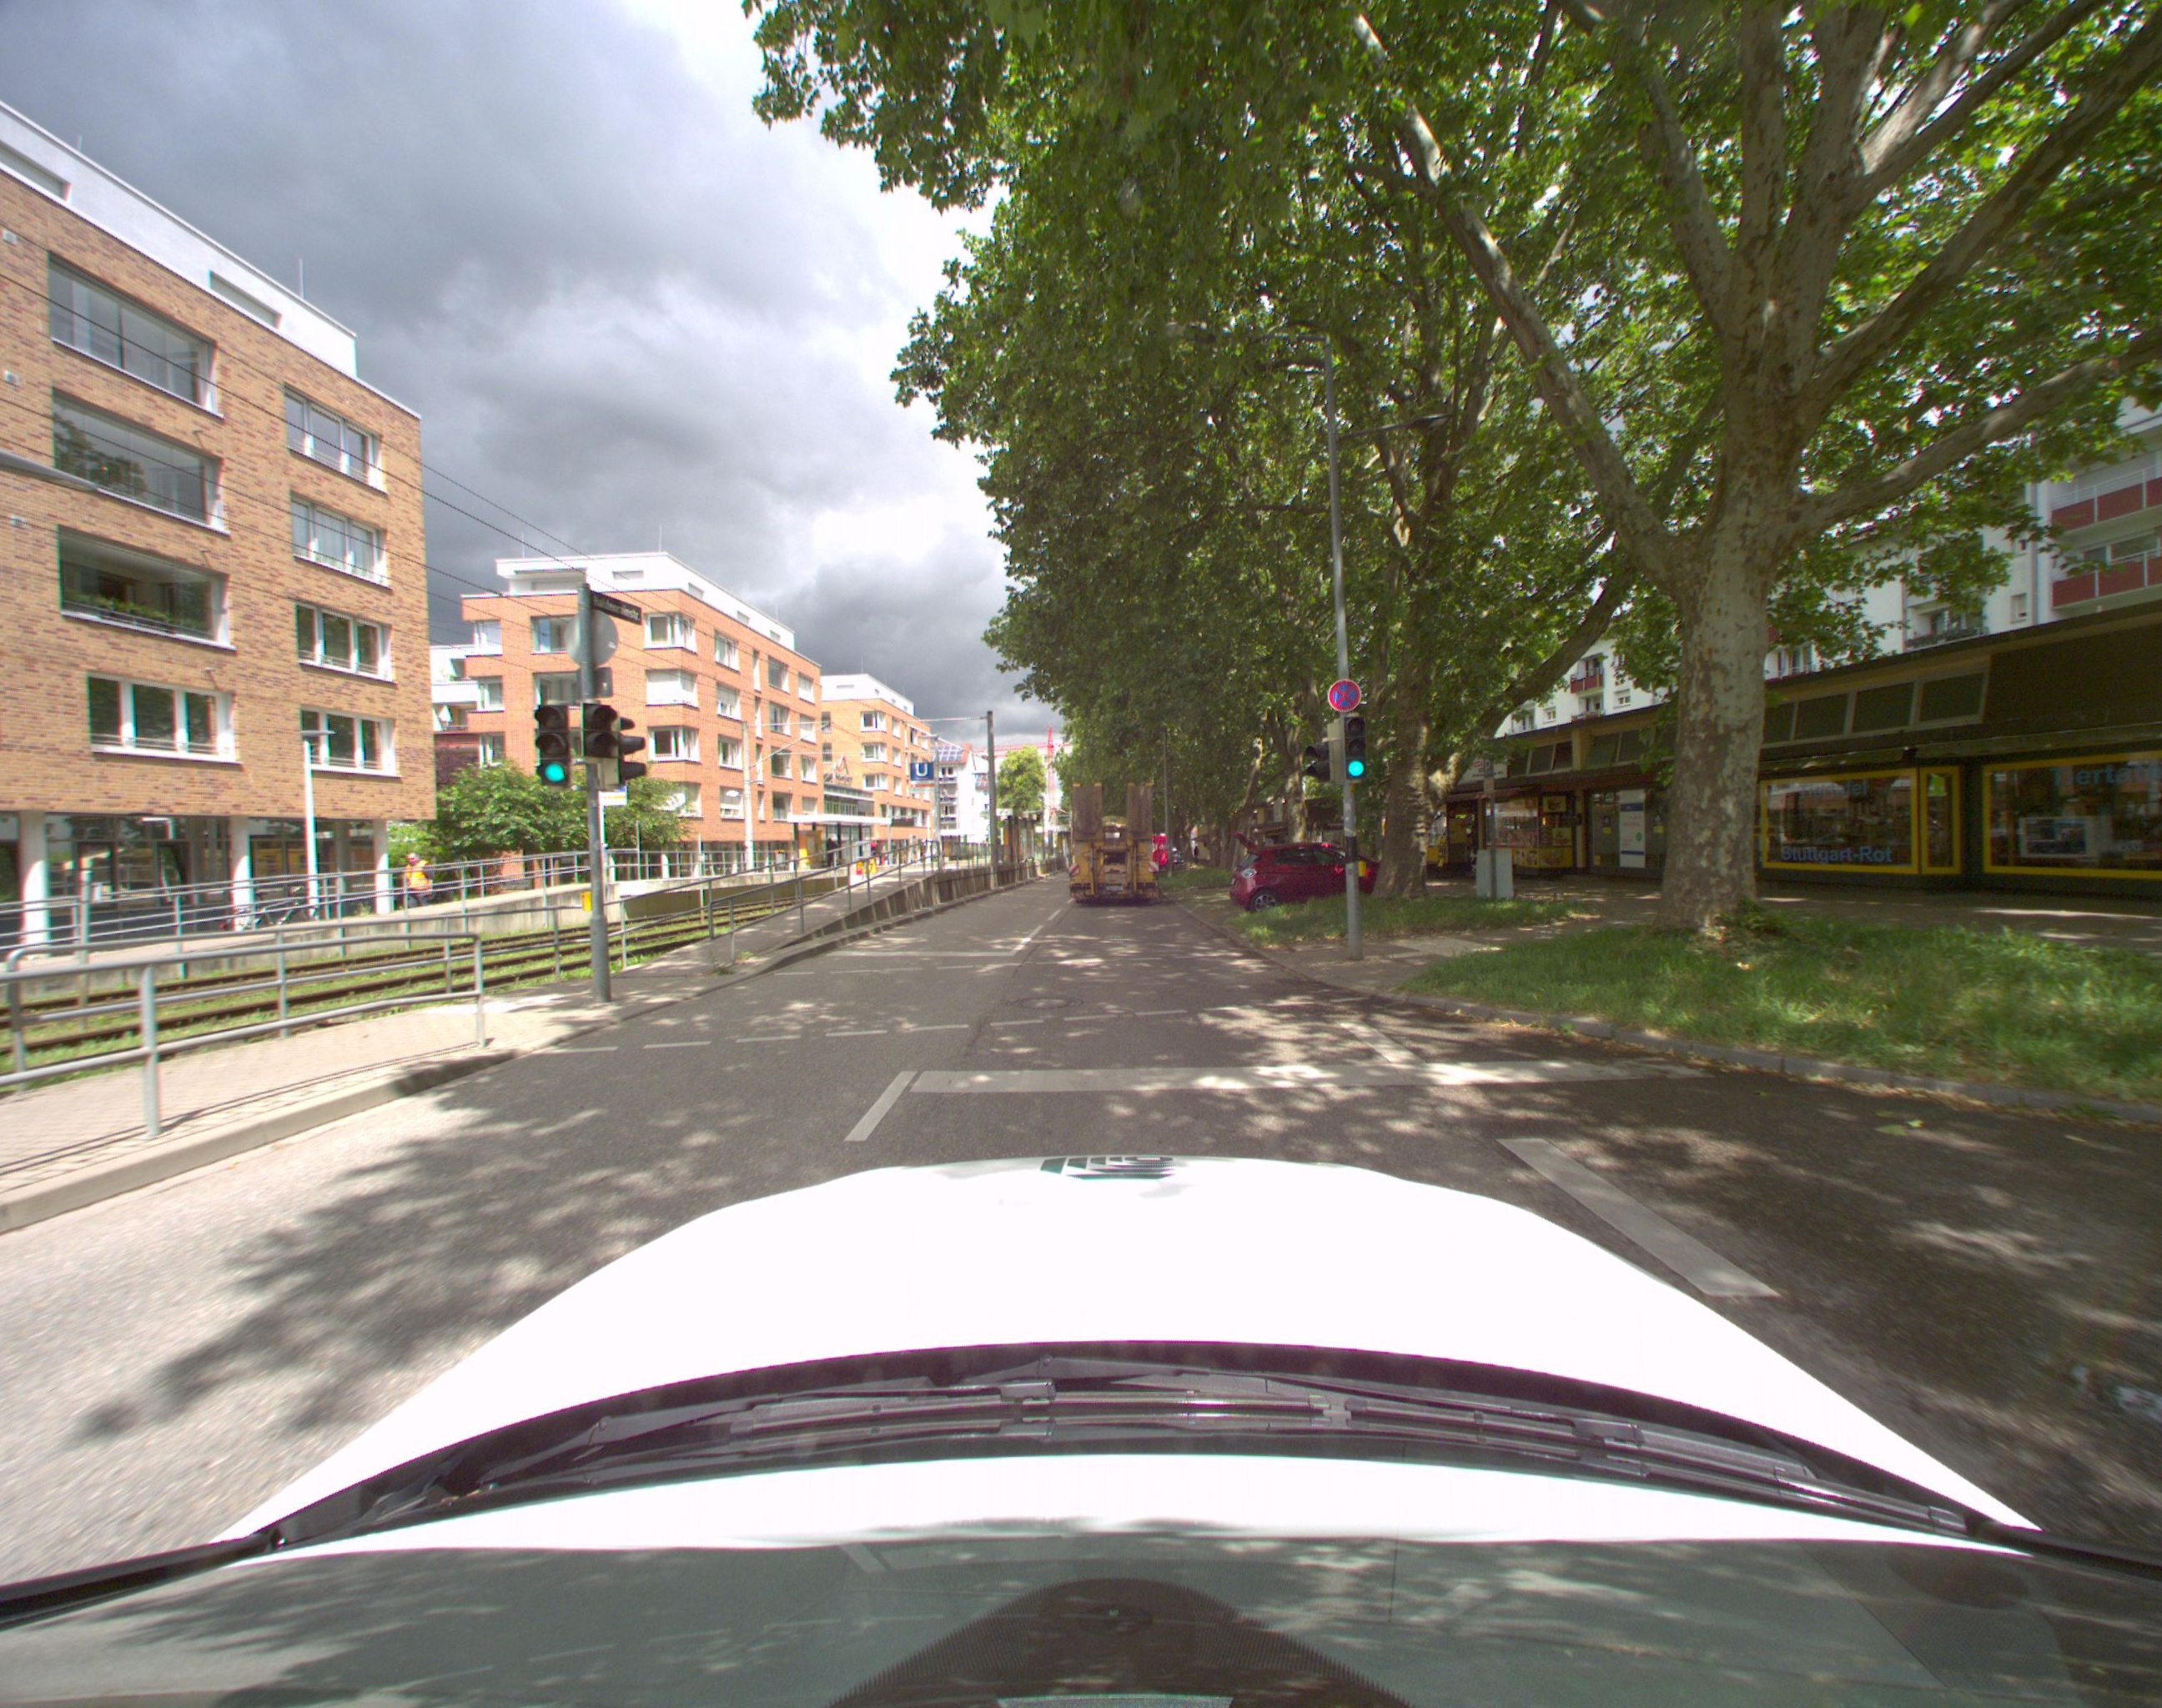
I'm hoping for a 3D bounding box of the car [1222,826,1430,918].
[{"bbox_3d":[5.264,0.379,17.937,4.010,1.611,1.733,-5,0,5],"label":"car"}]

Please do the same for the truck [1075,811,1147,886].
[{"bbox_3d":[1.467,-0.244,38.012,2.977,3.135,7.893,-1,0,3],"label":"truck"}]

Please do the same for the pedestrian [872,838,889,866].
[{"bbox_3d":[-11.975,-0.123,48.616,0.748,1.629,0.816,-1,0,3],"label":"pedestrian"}]

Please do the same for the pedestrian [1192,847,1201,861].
[{"bbox_3d":[11.463,0.018,80.788,0.693,1.392,0.512,-2,0,-2],"label":"pedestrian"}]

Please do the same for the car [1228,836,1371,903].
[{"bbox_3d":[5.908,0.410,22.265,3.398,1.514,1.609,-5,0,-2],"label":"car"}]

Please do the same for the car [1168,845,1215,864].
[{"bbox_3d":[9.759,0.044,71.979,3.822,1.562,1.617,-3,0,-4],"label":"car"}]

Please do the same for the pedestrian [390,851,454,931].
[{"bbox_3d":[-15.515,0.852,19.201,0.740,1.825,0.829,-2,0,1],"label":"pedestrian"}]

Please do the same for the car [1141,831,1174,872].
[{"bbox_3d":[5.239,-0.159,56.525,1.896,2.581,6.839,-3,0,3],"label":"car"}]

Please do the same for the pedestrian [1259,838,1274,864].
[{"bbox_3d":[10.370,-0.174,45.544,0.623,1.447,1.029,-2,0,3],"label":"pedestrian"}]

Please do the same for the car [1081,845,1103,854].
[{"bbox_3d":[2.672,-1.126,195.906,5.092,2.102,1.969,-1,0,-12],"label":"car"}]

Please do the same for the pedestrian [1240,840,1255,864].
[{"bbox_3d":[12.846,-0.188,62.902,0.609,1.801,0.915,-2,-1,-43],"label":"pedestrian"}]

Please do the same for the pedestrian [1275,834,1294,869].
[{"bbox_3d":[11.300,-0.116,45.256,0.740,1.883,0.942,-4,-1,2],"label":"pedestrian"}]

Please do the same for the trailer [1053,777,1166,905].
[{"bbox_3d":[1.040,-0.379,28.499,3.142,3.552,11.104,-1,0,2],"label":"trailer"}]

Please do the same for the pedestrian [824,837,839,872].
[{"bbox_3d":[-12.597,0.030,41.171,0.532,1.763,0.528,-2,0,0],"label":"pedestrian"}]
